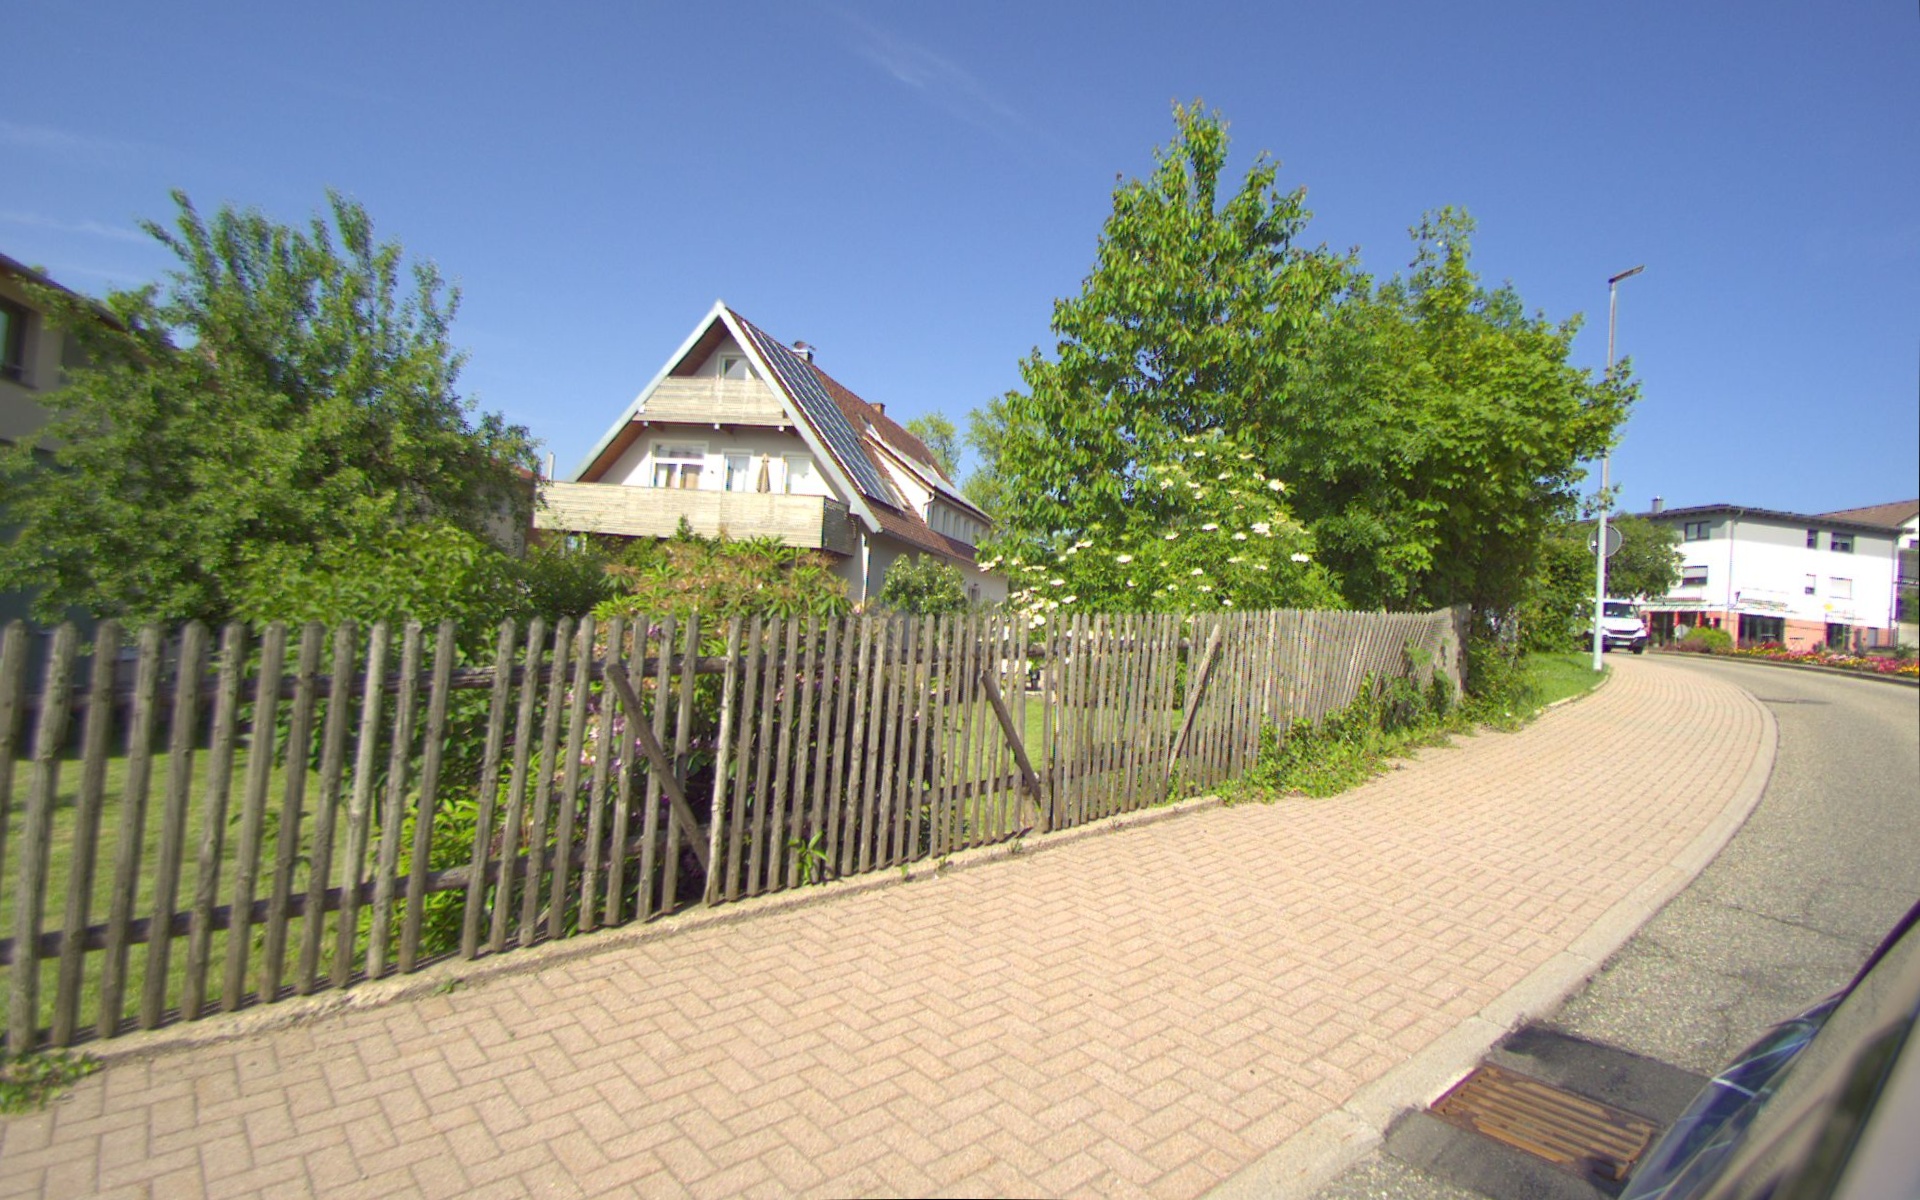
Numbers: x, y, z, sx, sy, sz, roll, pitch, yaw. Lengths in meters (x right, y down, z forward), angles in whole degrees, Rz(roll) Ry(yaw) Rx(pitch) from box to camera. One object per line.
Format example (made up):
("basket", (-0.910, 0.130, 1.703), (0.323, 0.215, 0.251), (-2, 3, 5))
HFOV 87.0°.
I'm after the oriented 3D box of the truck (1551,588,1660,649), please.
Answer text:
("truck", (27.337, 0.890, 43.151), (1.971, 2.372, 6.461), (-1, -3, 15))
